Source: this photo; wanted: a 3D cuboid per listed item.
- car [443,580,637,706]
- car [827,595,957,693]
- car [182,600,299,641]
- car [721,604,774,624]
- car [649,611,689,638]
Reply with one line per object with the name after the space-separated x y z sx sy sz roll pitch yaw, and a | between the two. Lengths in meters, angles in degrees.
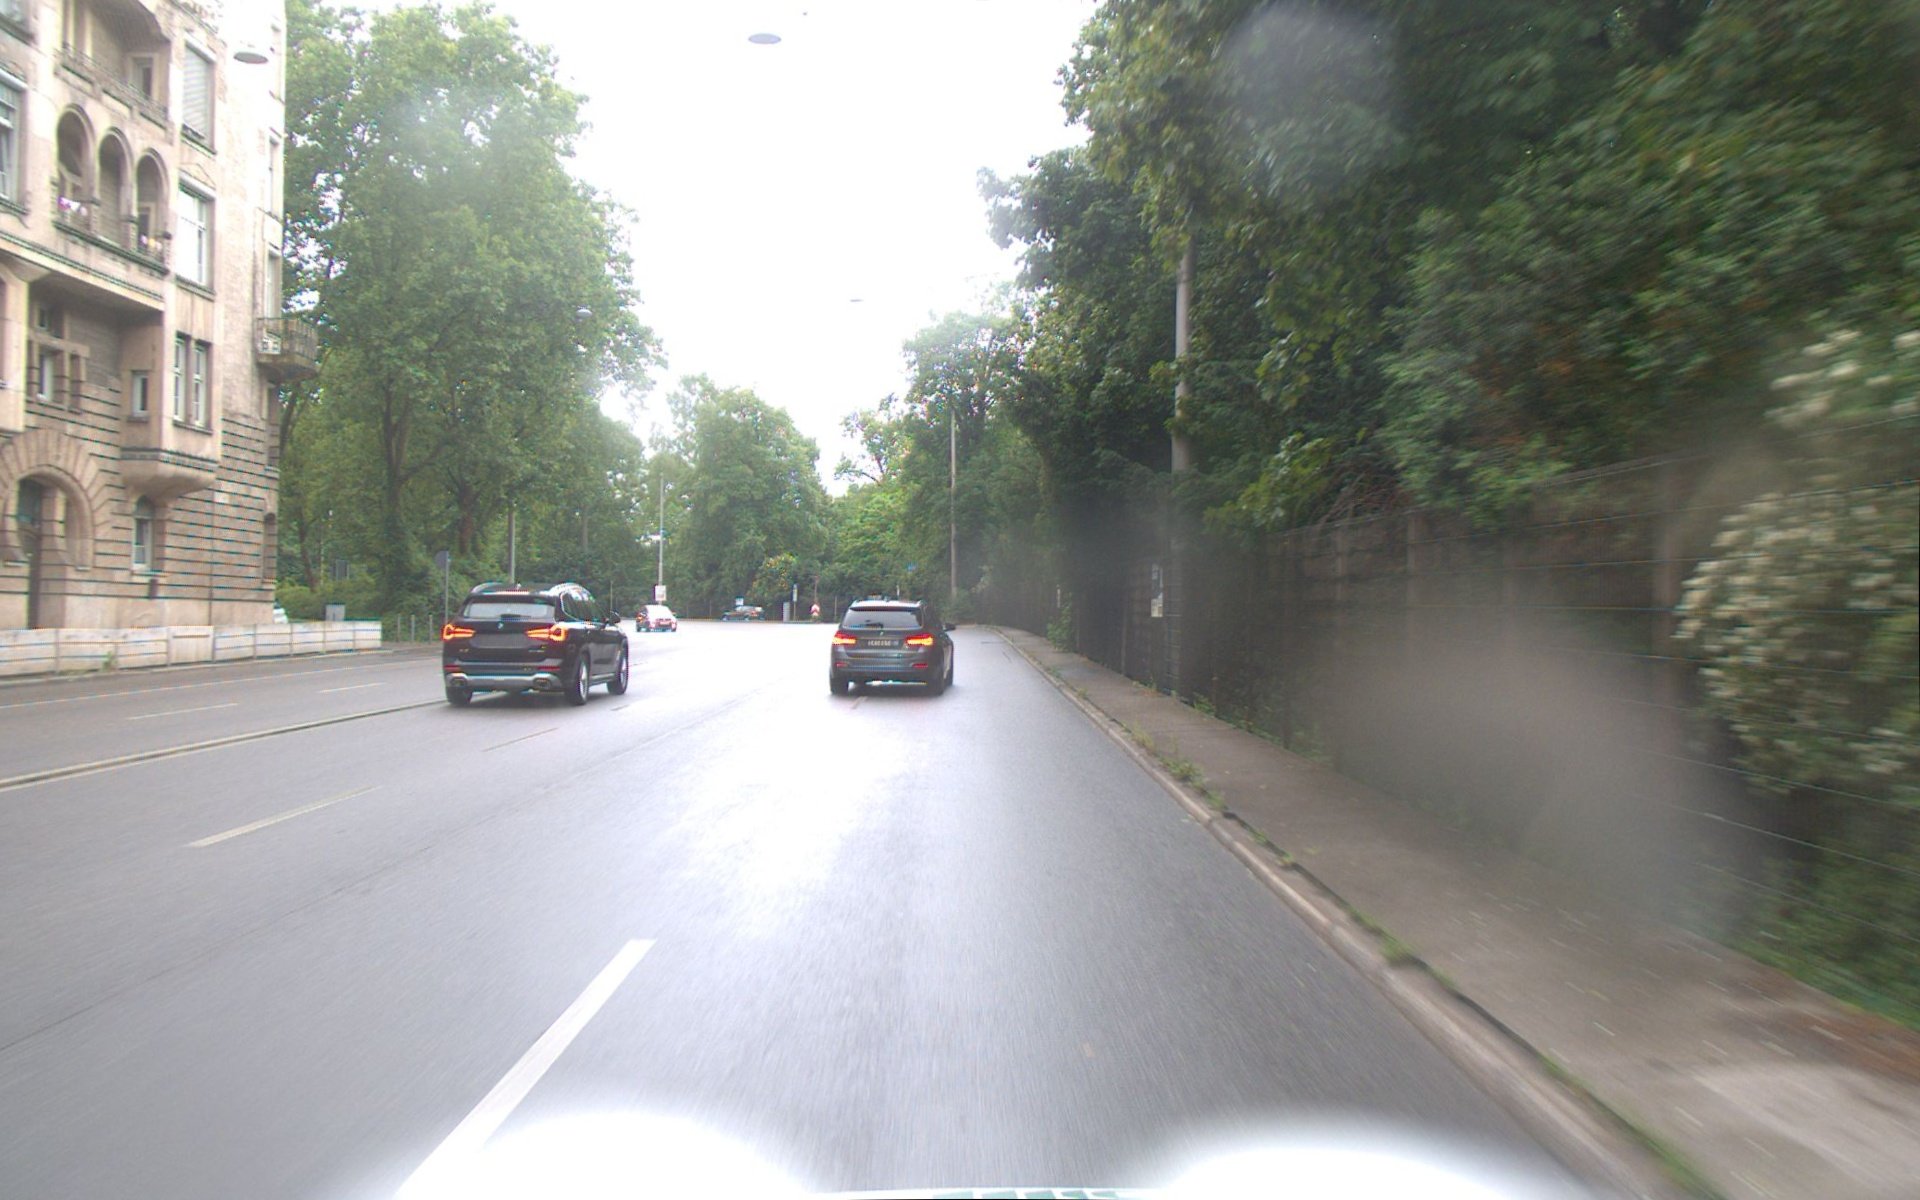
-5.931 0.574 23.869 1.722 1.613 4.411 1 0 -1 | car
-1.032 0.670 27.034 1.721 1.457 4.414 0 0 3 | car
-25.977 0.732 59.763 3.419 1.400 1.781 0 1 9 | car
-16.342 1.076 127.009 4.295 1.451 1.682 0 -3 43 | car
-16.250 1.357 92.424 1.547 1.439 3.961 0 0 0 | car
